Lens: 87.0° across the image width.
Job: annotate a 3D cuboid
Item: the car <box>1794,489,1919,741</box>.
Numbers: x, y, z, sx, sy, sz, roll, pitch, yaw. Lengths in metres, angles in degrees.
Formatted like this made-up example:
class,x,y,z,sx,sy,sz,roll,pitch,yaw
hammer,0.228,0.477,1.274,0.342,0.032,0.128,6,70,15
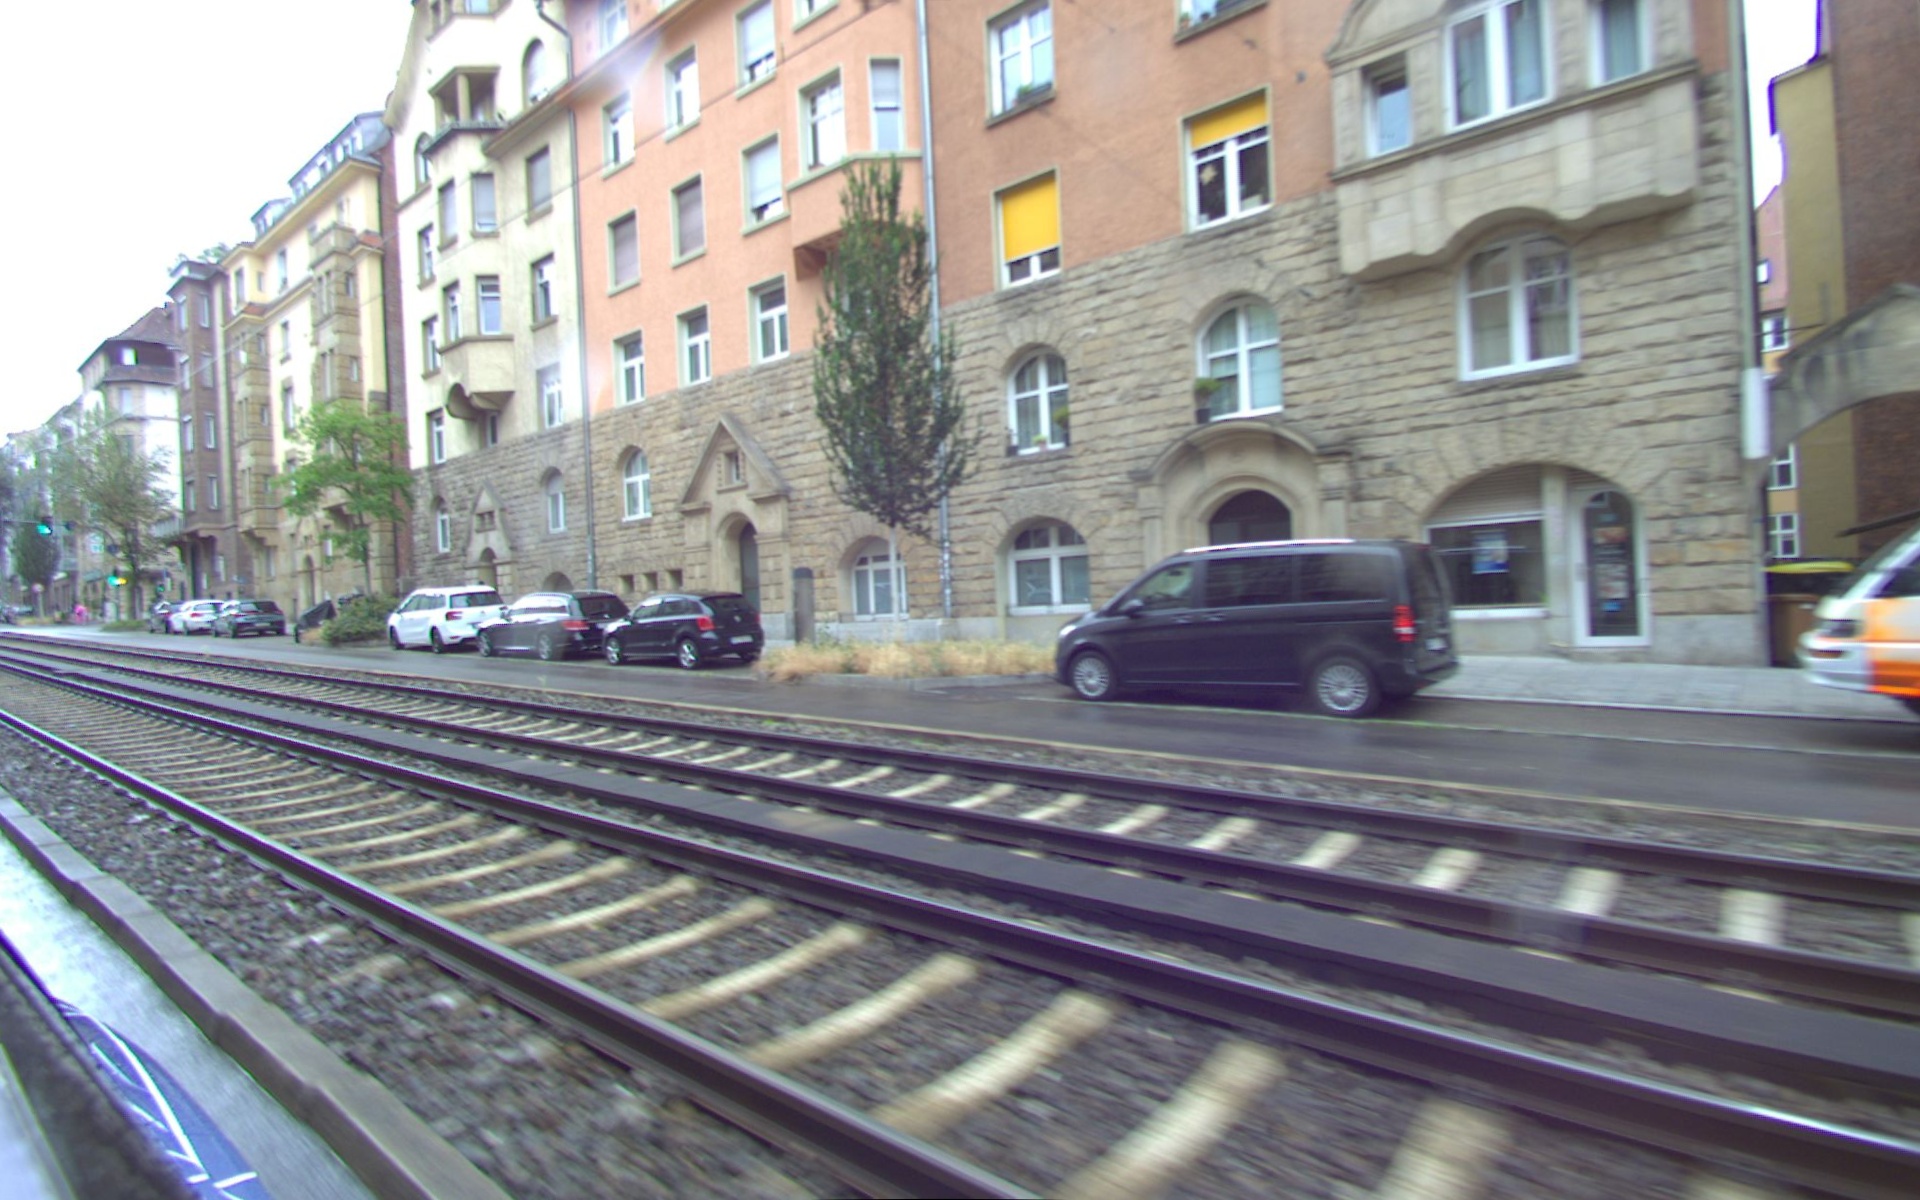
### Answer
class,x,y,z,sx,sy,sz,roll,pitch,yaw
car,9.101,0.098,7.503,4.472,1.945,1.711,0,0,40

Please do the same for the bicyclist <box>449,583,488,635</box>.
class,x,y,z,sx,sy,sz,roll,pitch,yaw
bicyclist,-15.646,0.271,32.233,0.774,1.613,0.883,0,0,41

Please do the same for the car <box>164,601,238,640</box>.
class,x,y,z,sx,sy,sz,roll,pitch,yaw
car,-32.382,0.836,43.141,4.043,1.462,1.737,0,4,42

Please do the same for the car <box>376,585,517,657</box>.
class,x,y,z,sx,sy,sz,roll,pitch,yaw
car,-13.720,0.513,26.952,4.257,1.684,1.738,0,4,40

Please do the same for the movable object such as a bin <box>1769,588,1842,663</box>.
class,x,y,z,sx,sy,sz,roll,pitch,yaw
movable object such as a bin,10.544,0.302,12.622,0.656,0.905,0.540,0,0,44

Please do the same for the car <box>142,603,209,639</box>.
class,x,y,z,sx,sy,sz,roll,pitch,yaw
car,-35.972,0.930,46.382,3.712,1.438,1.737,0,4,42

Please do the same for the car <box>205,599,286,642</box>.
class,x,y,z,sx,sy,sz,roll,pitch,yaw
car,-27.737,0.752,39.253,3.712,1.493,1.695,0,4,42

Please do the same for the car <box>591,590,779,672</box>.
class,x,y,z,sx,sy,sz,roll,pitch,yaw
car,-5.546,0.559,20.256,3.690,1.414,1.739,0,3,38

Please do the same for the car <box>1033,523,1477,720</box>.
class,x,y,z,sx,sy,sz,roll,pitch,yaw
car,3.396,0.206,12.279,4.829,1.945,1.886,0,0,40

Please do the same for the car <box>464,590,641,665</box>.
class,x,y,z,sx,sy,sz,roll,pitch,yaw
car,-9.429,0.573,23.256,4.593,1.502,1.738,0,3,39
